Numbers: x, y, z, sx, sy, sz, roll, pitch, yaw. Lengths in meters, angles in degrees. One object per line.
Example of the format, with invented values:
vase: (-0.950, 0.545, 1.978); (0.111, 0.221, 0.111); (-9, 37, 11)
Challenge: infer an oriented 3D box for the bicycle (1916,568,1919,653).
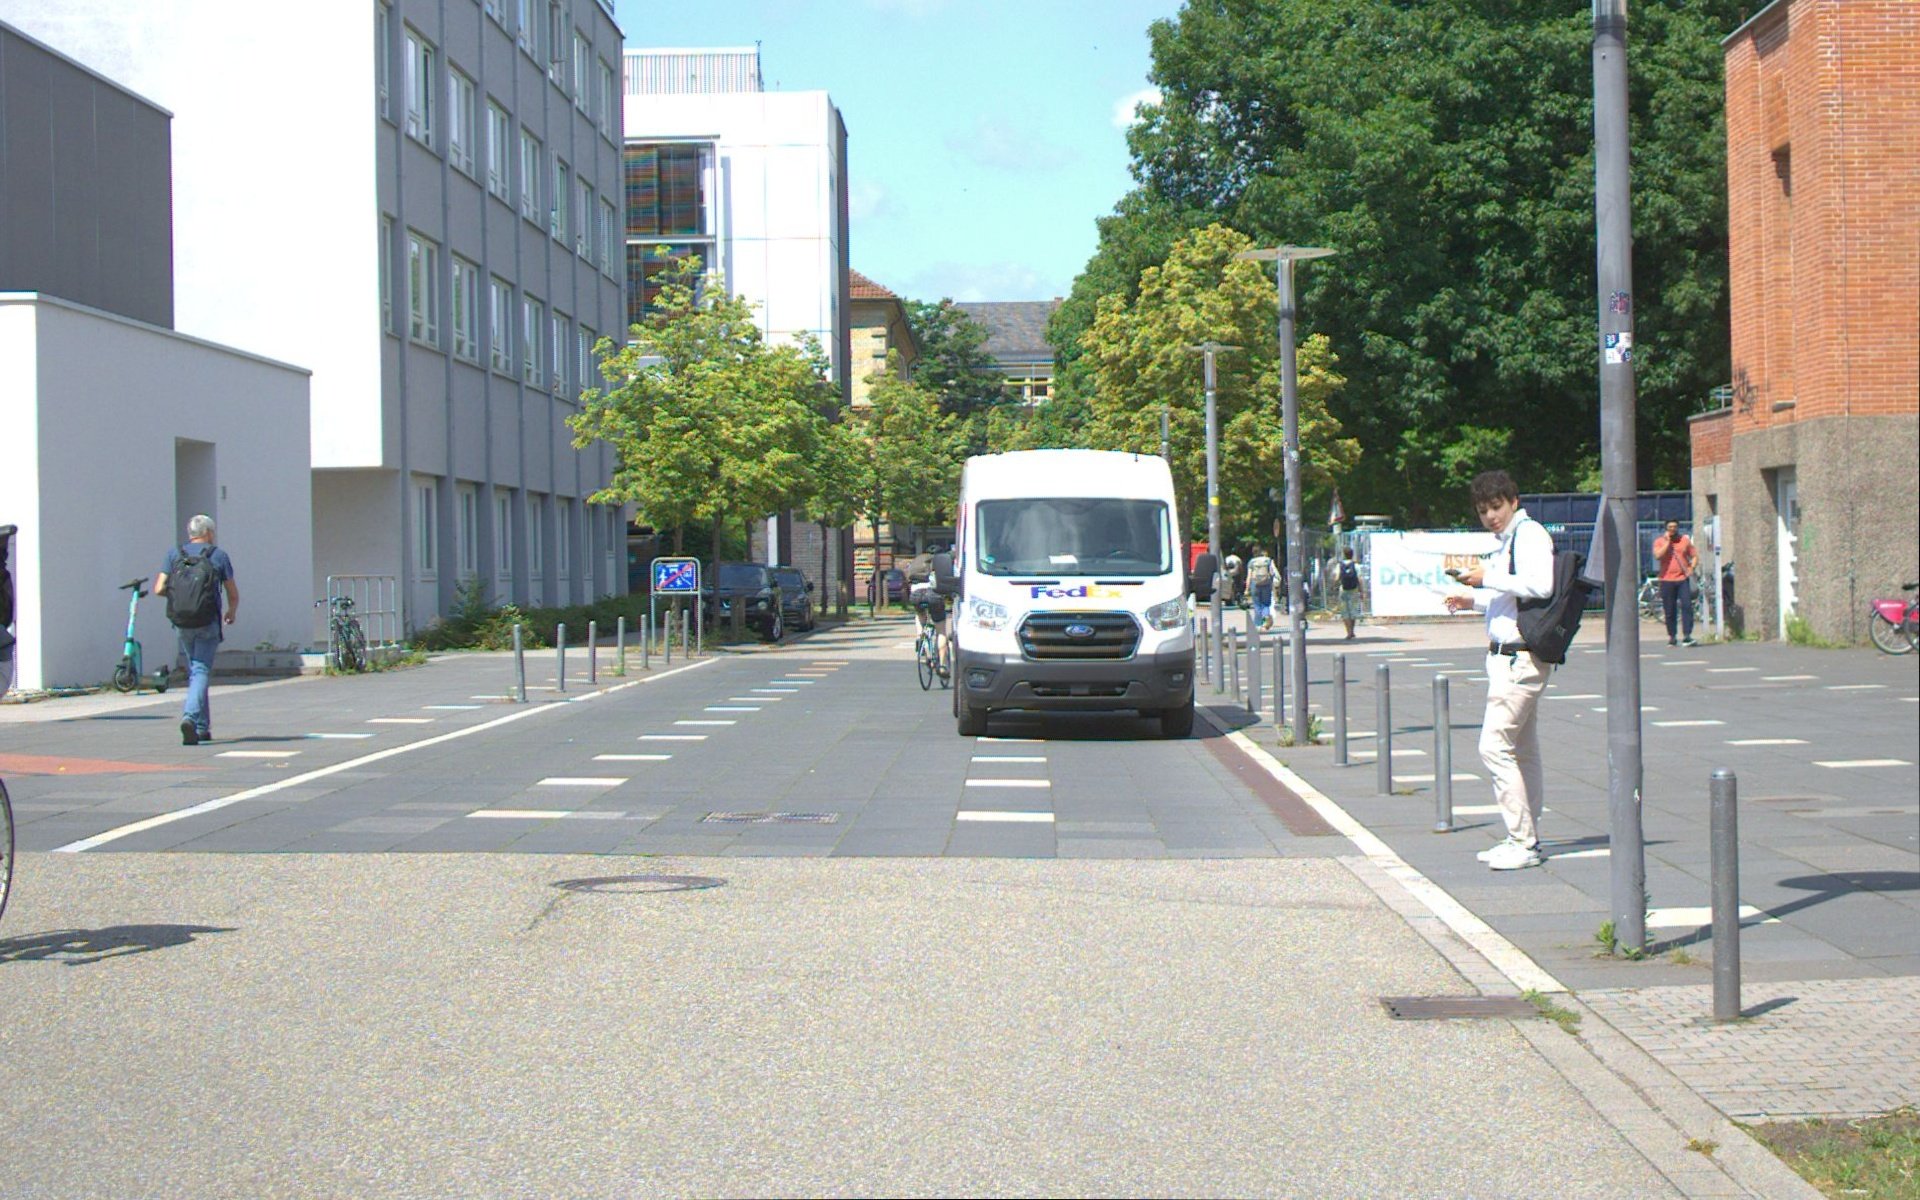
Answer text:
bicycle: (12.014, 0.087, 39.611); (1.809, 0.981, 0.560); (-2, 1, 1)

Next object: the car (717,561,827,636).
car: (-4.034, -0.049, 74.404); (1.796, 1.525, 3.999); (-1, 1, 5)

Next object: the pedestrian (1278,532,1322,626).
pedestrian: (6.840, -0.428, 69.136); (0.790, 1.853, 1.026); (-1, 1, 3)

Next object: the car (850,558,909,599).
car: (-3.107, -0.833, 133.366); (1.796, 1.525, 3.999); (-1, 1, 5)

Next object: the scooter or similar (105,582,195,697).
scooter or similar: (-8.865, 0.425, 37.662); (0.378, 1.212, 1.204); (-1, 1, 17)

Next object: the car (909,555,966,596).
car: (-0.864, -0.975, 133.111); (1.796, 1.525, 3.999); (-1, 1, 5)

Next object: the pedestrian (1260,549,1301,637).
pedestrian: (6.821, -0.161, 73.252); (0.790, 1.853, 1.026); (-1, 1, 3)

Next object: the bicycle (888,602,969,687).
bicycle: (-0.365, 0.535, 41.110); (0.707, 0.990, 1.910); (-1, -1, 7)

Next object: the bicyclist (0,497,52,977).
bicyclist: (-3.694, 0.472, 12.243); (0.667, 1.676, 0.993); (0, 2, -1)

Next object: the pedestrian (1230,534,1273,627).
pedestrian: (5.890, -0.406, 69.533); (0.790, 1.853, 1.243); (-1, 1, 3)

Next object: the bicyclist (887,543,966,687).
bicyclist: (-0.392, 0.182, 40.981); (0.717, 1.656, 1.095); (-3, -1, 7)

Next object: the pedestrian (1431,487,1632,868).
pedestrian: (2.660, 0.350, 16.087); (0.702, 1.689, 0.962); (-4, 0, 2)

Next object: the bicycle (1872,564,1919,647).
bicycle: (12.123, 0.044, 41.946); (1.809, 0.981, 0.560); (-2, 1, 1)

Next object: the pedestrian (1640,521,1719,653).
pedestrian: (10.270, -0.193, 49.113); (0.851, 1.853, 1.116); (-1, 1, -1)

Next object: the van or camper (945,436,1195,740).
van or camper: (0.959, -0.103, 30.127); (1.993, 2.437, 4.569); (-1, 0, 2)

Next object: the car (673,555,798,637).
car: (-4.337, -0.100, 66.961); (1.796, 1.525, 3.999); (-1, 1, 5)

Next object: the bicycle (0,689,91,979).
bicycle: (-3.699, 0.839, 12.316); (0.677, 0.961, 2.003); (1, 1, -1)

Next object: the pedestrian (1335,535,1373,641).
pedestrian: (6.992, -0.218, 61.058); (0.576, 1.853, 0.570); (-1, 1, -1)

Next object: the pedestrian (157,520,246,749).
pedestrian: (-5.991, 0.270, 27.190); (0.666, 1.779, 0.985); (0, -1, -12)

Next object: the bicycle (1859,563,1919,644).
bicycle: (12.212, 0.022, 42.907); (1.809, 0.981, 0.560); (-2, 1, 1)

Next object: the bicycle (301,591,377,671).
bicycle: (-8.104, 0.396, 44.909); (0.523, 0.981, 1.632); (-2, 1, 5)

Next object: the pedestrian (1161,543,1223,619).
pedestrian: (6.465, -0.543, 95.908); (1.499, 1.989, 1.646); (-4, 1, 0)
